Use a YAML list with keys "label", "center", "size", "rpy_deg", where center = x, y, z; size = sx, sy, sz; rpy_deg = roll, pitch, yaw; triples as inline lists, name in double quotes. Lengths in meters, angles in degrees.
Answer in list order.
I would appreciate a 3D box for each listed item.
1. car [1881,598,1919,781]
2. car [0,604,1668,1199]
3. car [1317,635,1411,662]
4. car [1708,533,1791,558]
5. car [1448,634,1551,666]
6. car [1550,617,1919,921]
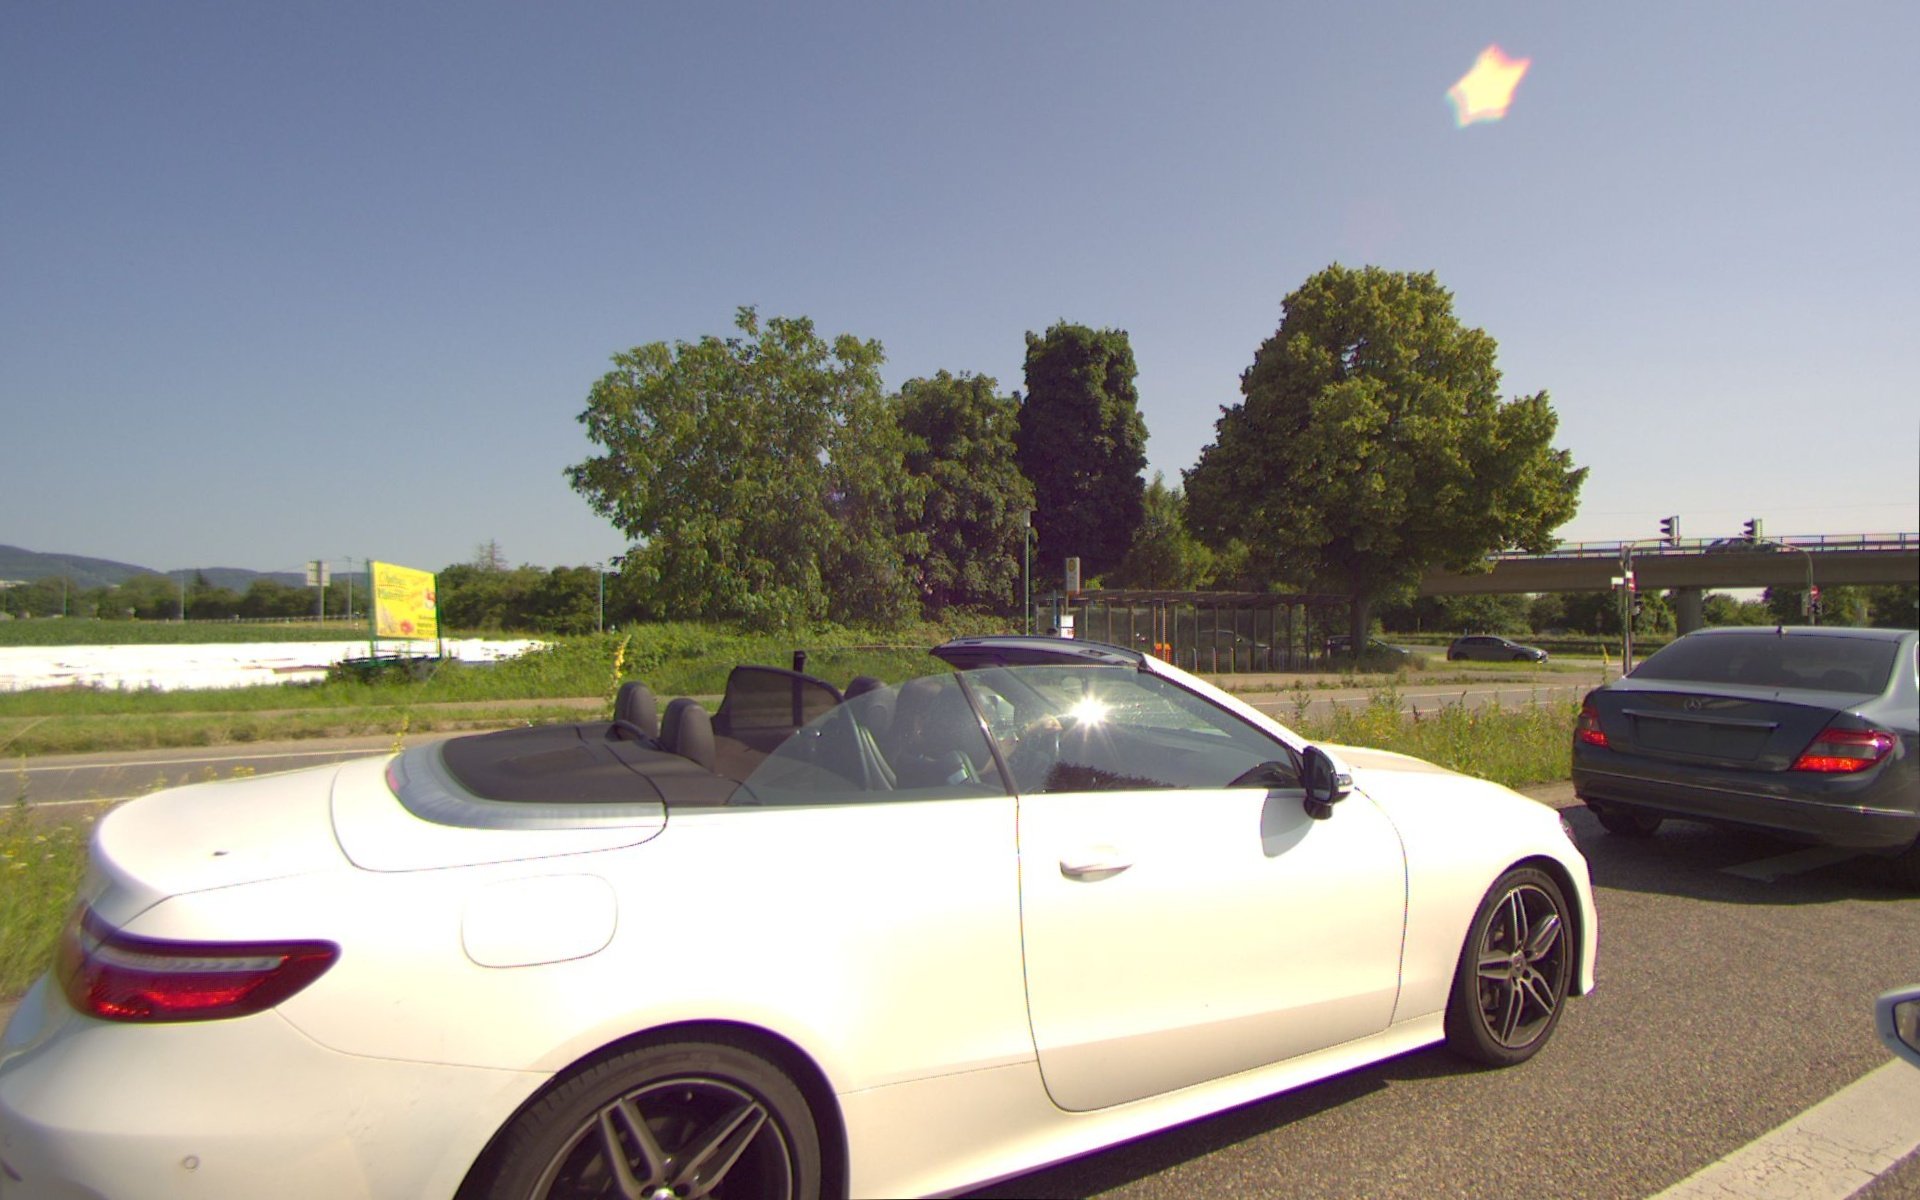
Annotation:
- label: "car"
  center: [11.043, 0.847, 9.886]
  size: [4.305, 1.694, 1.733]
  rpy_deg: [1, -1, -30]
- label: "car"
  center: [0.100, 0.772, 3.179]
  size: [4.587, 1.444, 1.794]
  rpy_deg: [1, 0, -31]
- label: "car"
  center: [20.631, 2.445, 51.370]
  size: [4.278, 1.297, 1.647]
  rpy_deg: [-1, -2, 32]
- label: "car"
  center: [54.027, -3.711, 68.815]
  size: [3.919, 1.506, 2.001]
  rpy_deg: [2, 1, 11]
- label: "car"
  center: [25.754, 2.359, 48.034]
  size: [4.066, 1.443, 1.862]
  rpy_deg: [-1, -2, 41]
- label: "car"
  center: [6.018, 0.857, 6.702]
  size: [4.304, 1.429, 1.706]
  rpy_deg: [1, 1, -30]
